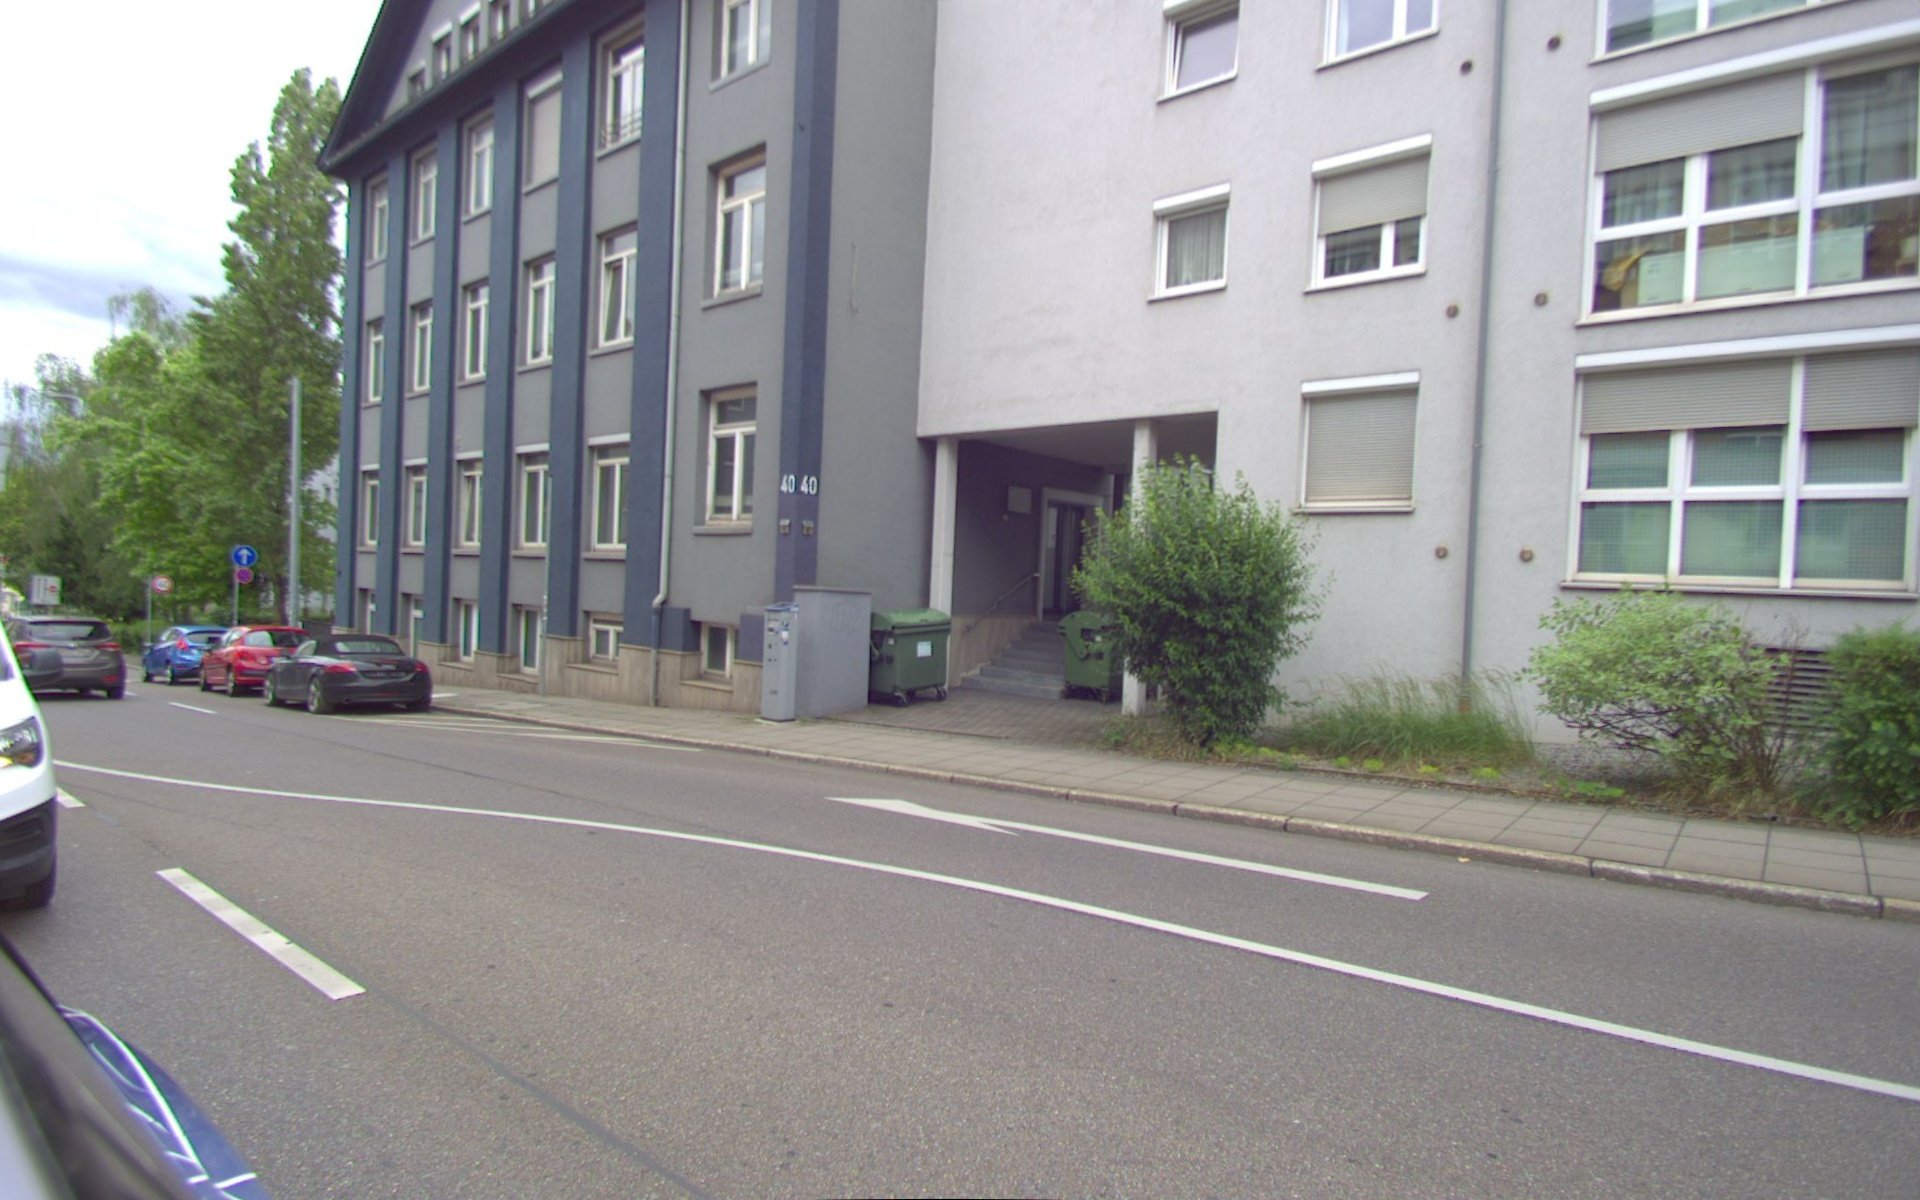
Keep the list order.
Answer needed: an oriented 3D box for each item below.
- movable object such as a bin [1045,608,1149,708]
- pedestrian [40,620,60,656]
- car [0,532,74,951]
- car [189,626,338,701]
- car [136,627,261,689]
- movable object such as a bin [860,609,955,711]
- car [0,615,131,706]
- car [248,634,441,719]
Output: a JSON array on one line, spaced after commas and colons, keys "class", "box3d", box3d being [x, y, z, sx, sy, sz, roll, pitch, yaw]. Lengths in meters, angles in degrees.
[{"class": "movable object such as a bin", "box3d": [2.250, 0.923, 16.641, 1.190, 1.489, 1.132, 5, 2, 41]}, {"class": "pedestrian", "box3d": [-48.134, 1.987, 53.531, 0.776, 1.864, 0.736, -2, -1, 42]}, {"class": "car", "box3d": [-6.457, 0.662, 5.532, 4.937, 1.821, 1.816, -1, 0, 42]}, {"class": "car", "box3d": [-15.257, 1.350, 22.093, 3.868, 1.485, 1.796, -2, -4, 42]}, {"class": "car", "box3d": [-19.385, 1.432, 25.716, 3.724, 1.465, 1.702, -1, -3, 40]}, {"class": "movable object such as a bin", "box3d": [-0.804, 0.897, 15.701, 0.784, 1.467, 1.251, 0, 1, 44]}, {"class": "car", "box3d": [-17.738, 1.143, 19.746, 3.933, 1.599, 1.686, -1, -4, 40]}, {"class": "car", "box3d": [-11.055, 1.308, 18.078, 4.038, 1.337, 1.702, -1, -4, 40]}]
